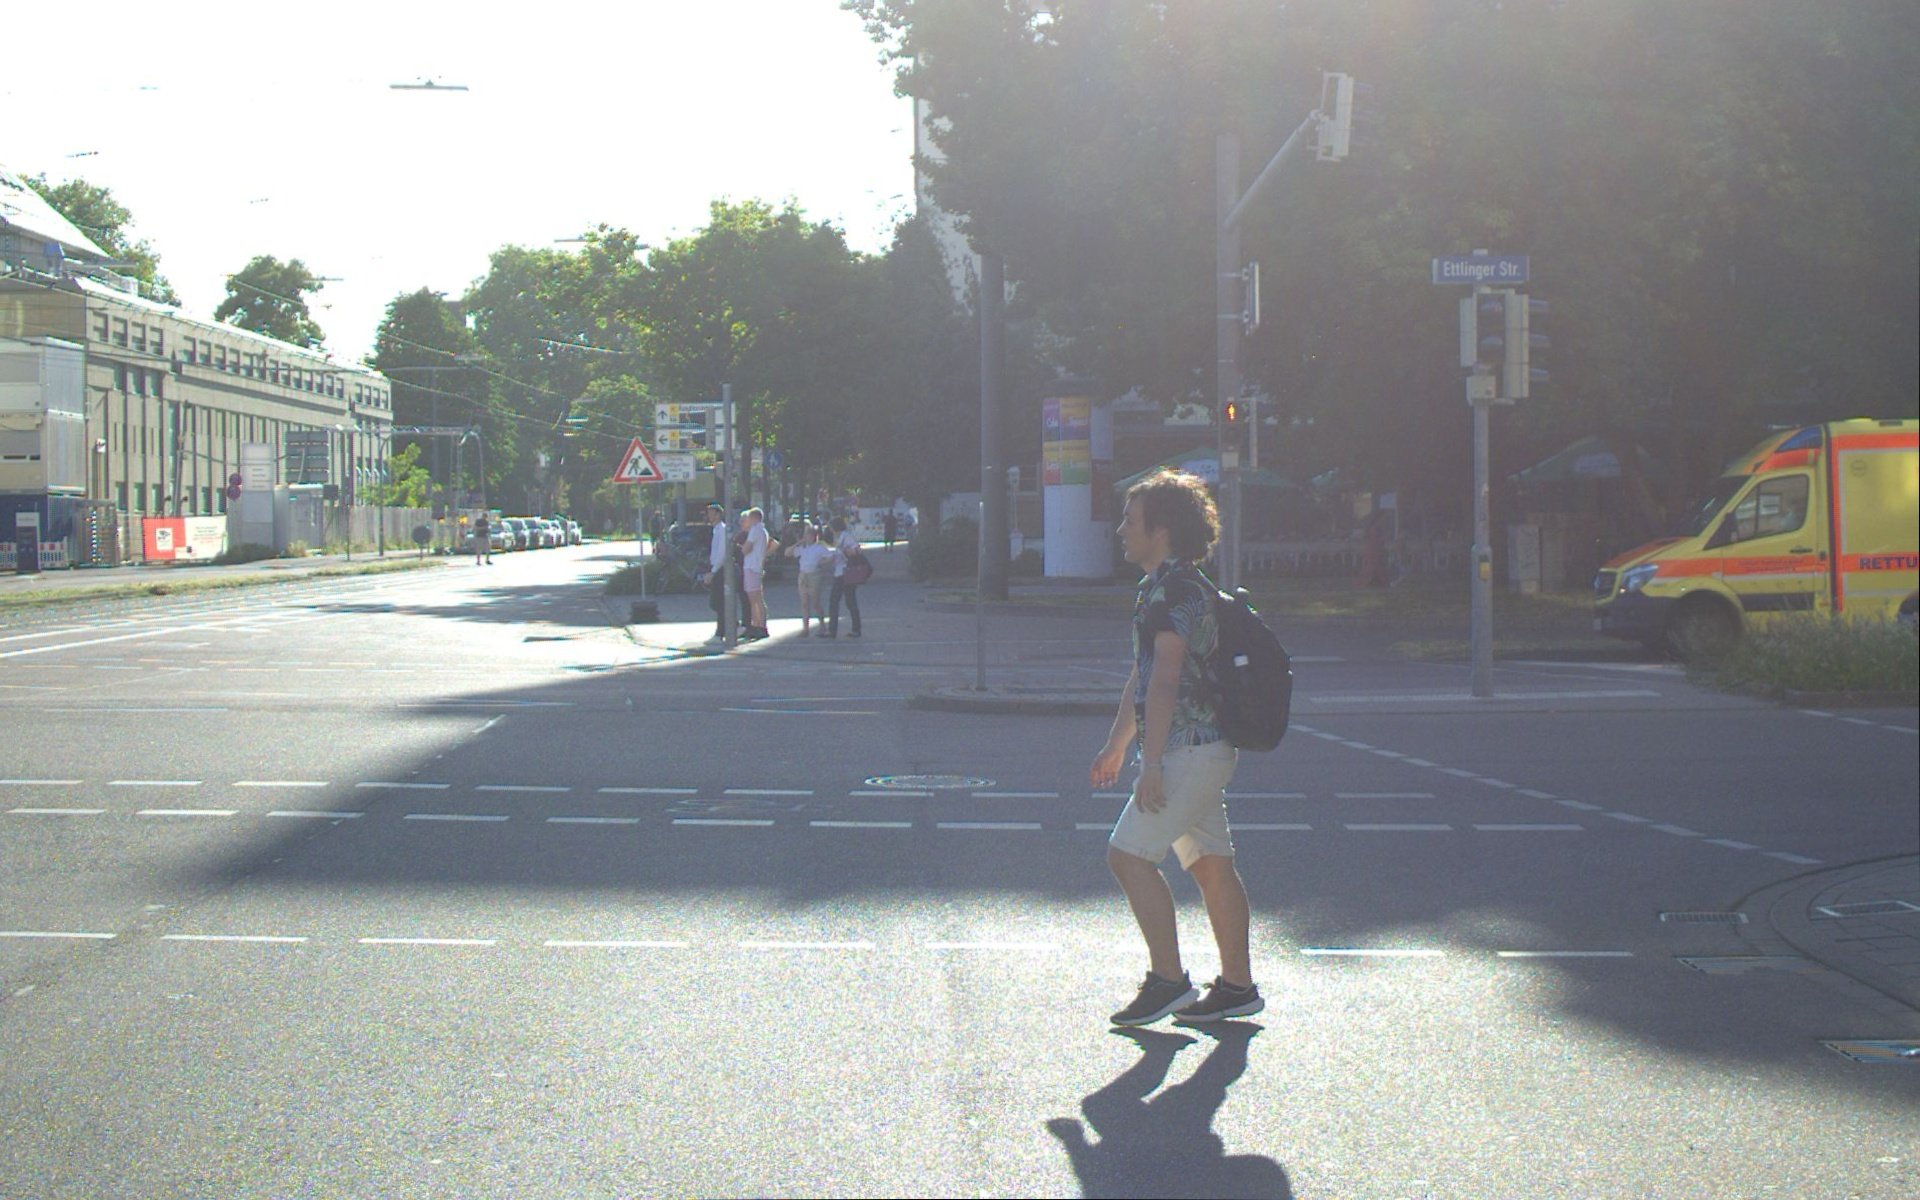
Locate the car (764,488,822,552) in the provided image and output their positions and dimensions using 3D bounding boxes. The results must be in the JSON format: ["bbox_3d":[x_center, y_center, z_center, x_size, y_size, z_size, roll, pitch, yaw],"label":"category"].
[{"bbox_3d":[-5.284,-2.519,109.152,1.684,1.955,3.509,1,0,-1],"label":"car"}]

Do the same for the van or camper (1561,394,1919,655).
[{"bbox_3d":[10.537,-0.825,39.880,6.709,2.852,2.910,1,0,4],"label":"van or camper"}]

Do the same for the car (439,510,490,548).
[{"bbox_3d":[-22.658,-3.261,157.269,1.819,1.706,3.806,-1,1,-1],"label":"car"}]

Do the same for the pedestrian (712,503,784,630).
[{"bbox_3d":[-3.001,-0.482,48.653,0.847,1.778,0.780,-1,1,-16],"label":"pedestrian"}]

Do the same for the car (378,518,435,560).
[{"bbox_3d":[-23.396,-2.589,145.401,1.819,1.706,3.806,-1,1,-1],"label":"car"}]

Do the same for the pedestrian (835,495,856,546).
[{"bbox_3d":[-8.239,-5.719,247.005,1.401,3.584,1.568,1,0,-1],"label":"pedestrian"}]

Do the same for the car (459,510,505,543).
[{"bbox_3d":[-22.398,-3.435,161.176,1.609,1.493,3.806,-1,1,-1],"label":"car"}]

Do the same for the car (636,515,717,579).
[{"bbox_3d":[-6.895,-1.277,83.855,1.684,1.495,3.509,1,0,-1],"label":"car"}]

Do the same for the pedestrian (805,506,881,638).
[{"bbox_3d":[-1.610,-0.391,47.311,0.847,1.778,0.780,-1,1,-16],"label":"pedestrian"}]

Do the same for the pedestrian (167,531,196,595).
[{"bbox_3d":[-16.327,-0.779,72.116,0.511,1.324,0.369,0,1,1],"label":"pedestrian"}]

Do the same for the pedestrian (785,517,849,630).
[{"bbox_3d":[-1.998,-0.374,48.004,0.762,1.553,0.588,-1,1,-16],"label":"pedestrian"}]

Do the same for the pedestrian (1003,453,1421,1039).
[{"bbox_3d":[0.762,0.415,10.709,1.039,1.715,1.035,-1,1,-12],"label":"pedestrian"}]

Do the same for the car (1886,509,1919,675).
[{"bbox_3d":[11.630,-0.037,34.170,4.314,1.641,1.888,1,0,0],"label":"car"}]

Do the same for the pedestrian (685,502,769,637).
[{"bbox_3d":[-3.137,-0.419,46.219,0.965,1.778,0.780,-1,1,-16],"label":"pedestrian"}]

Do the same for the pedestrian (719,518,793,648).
[{"bbox_3d":[-2.836,-0.247,47.790,0.847,1.778,0.780,-1,1,-16],"label":"pedestrian"}]

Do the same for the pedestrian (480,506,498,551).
[{"bbox_3d":[-15.764,-2.389,114.960,0.524,1.479,0.437,1,0,-1],"label":"pedestrian"}]
